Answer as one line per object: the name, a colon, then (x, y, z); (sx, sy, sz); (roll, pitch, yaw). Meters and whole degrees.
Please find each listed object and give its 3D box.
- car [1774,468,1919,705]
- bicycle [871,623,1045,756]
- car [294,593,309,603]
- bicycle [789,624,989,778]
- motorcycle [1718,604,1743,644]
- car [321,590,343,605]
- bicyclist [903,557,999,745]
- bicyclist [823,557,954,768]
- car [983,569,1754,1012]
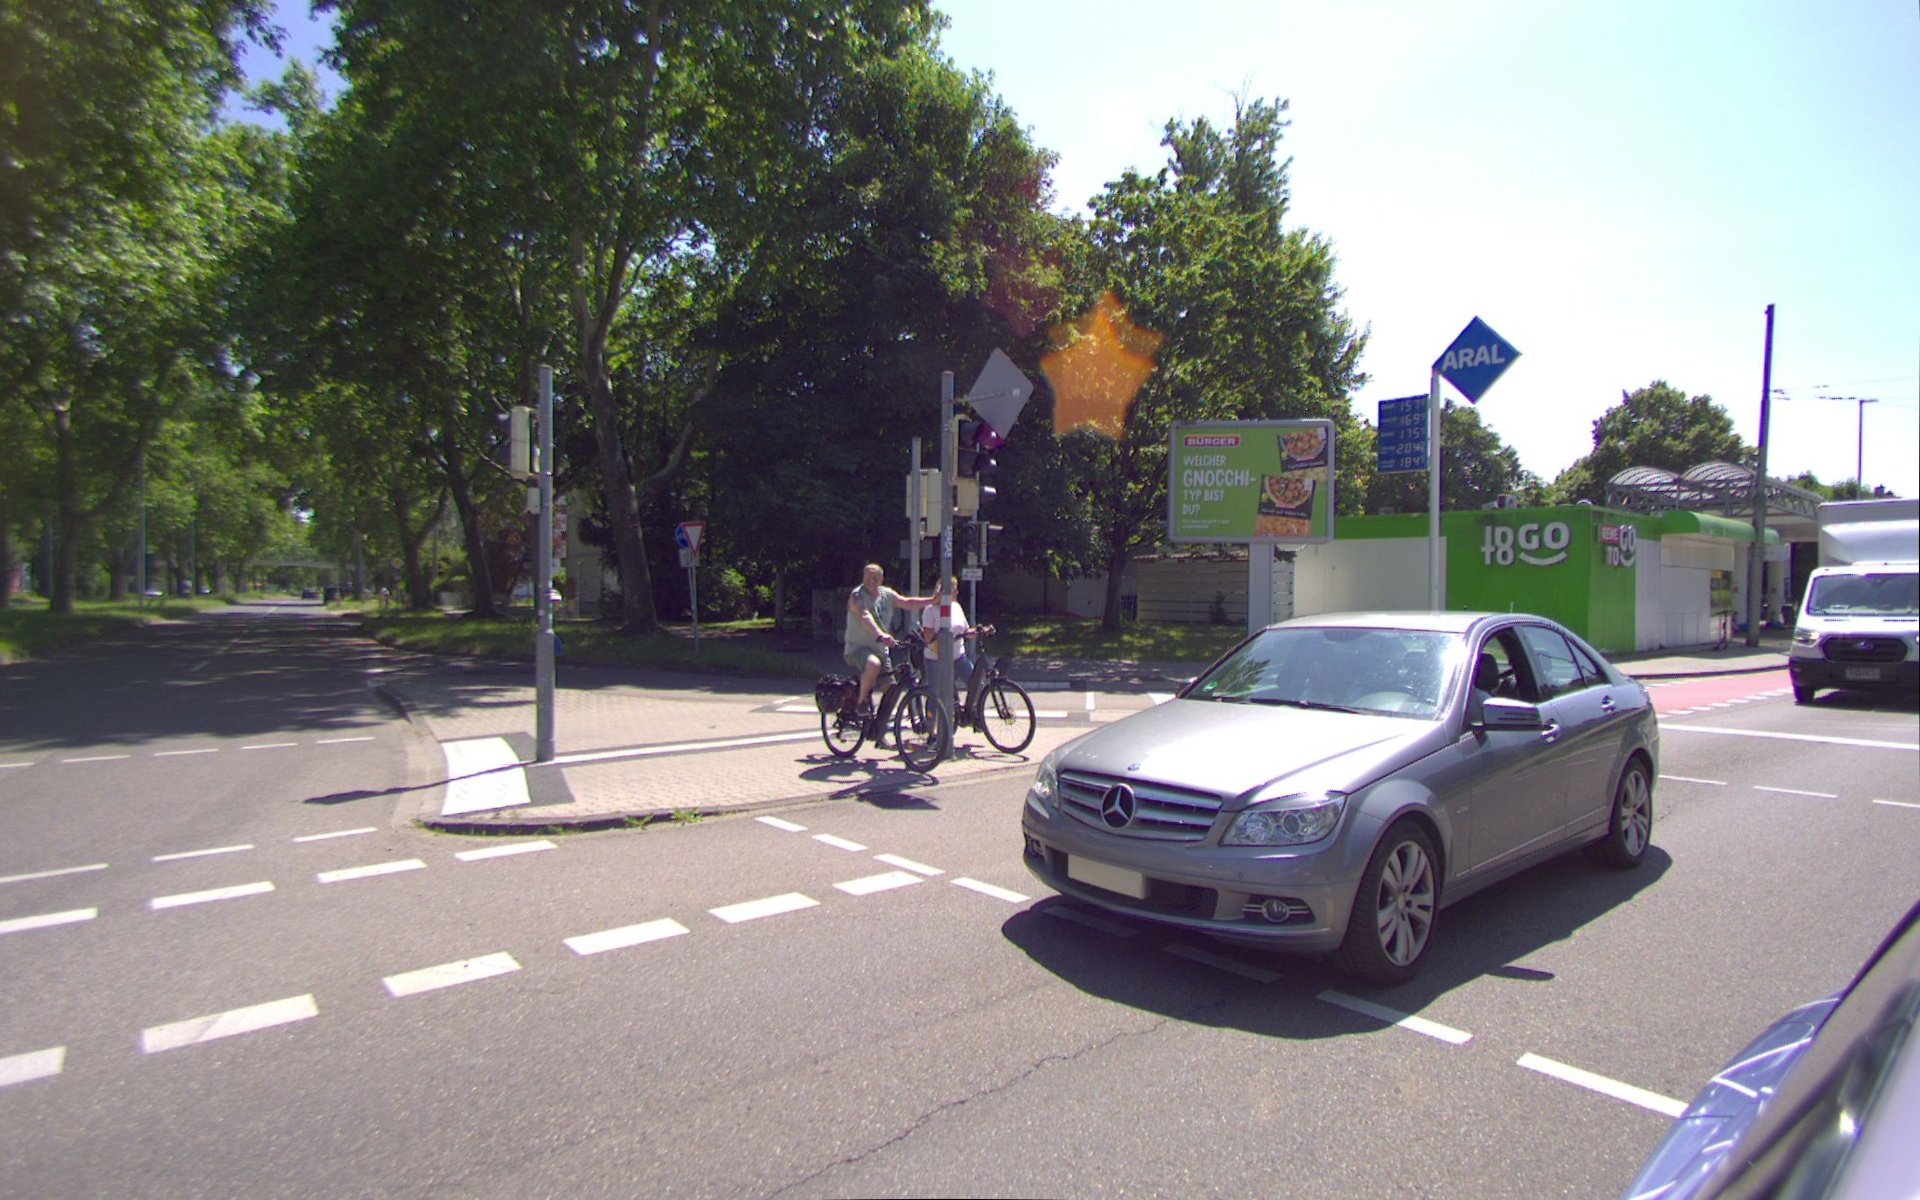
car: (16.627, -0.182, 17.522); (8.480, 3.378, 2.228); (0, -1, -39)
bicycle: (-0.071, 0.824, 10.082); (0.877, 1.139, 1.874); (0, 0, -32)
car: (-92.700, -0.294, 142.478); (1.461, 1.464, 3.356); (-1, 0, -28)
bicycle: (-0.692, 0.836, 9.176); (0.879, 1.174, 1.954); (0, 0, -38)
motorcycle: (22.831, 0.703, 29.979); (1.098, 1.118, 0.253); (-1, 6, -40)
car: (-63.141, -0.263, 101.727); (1.673, 1.464, 3.388); (-1, -1, -28)
bicyclist: (-0.095, 0.490, 10.212); (0.753, 1.811, 0.579); (0, -1, -32)
bicyclist: (-0.653, 0.530, 9.260); (0.959, 1.810, 0.725); (0, 0, -38)
car: (2.671, 0.671, 5.734); (5.205, 1.492, 1.716); (0, -2, -39)
